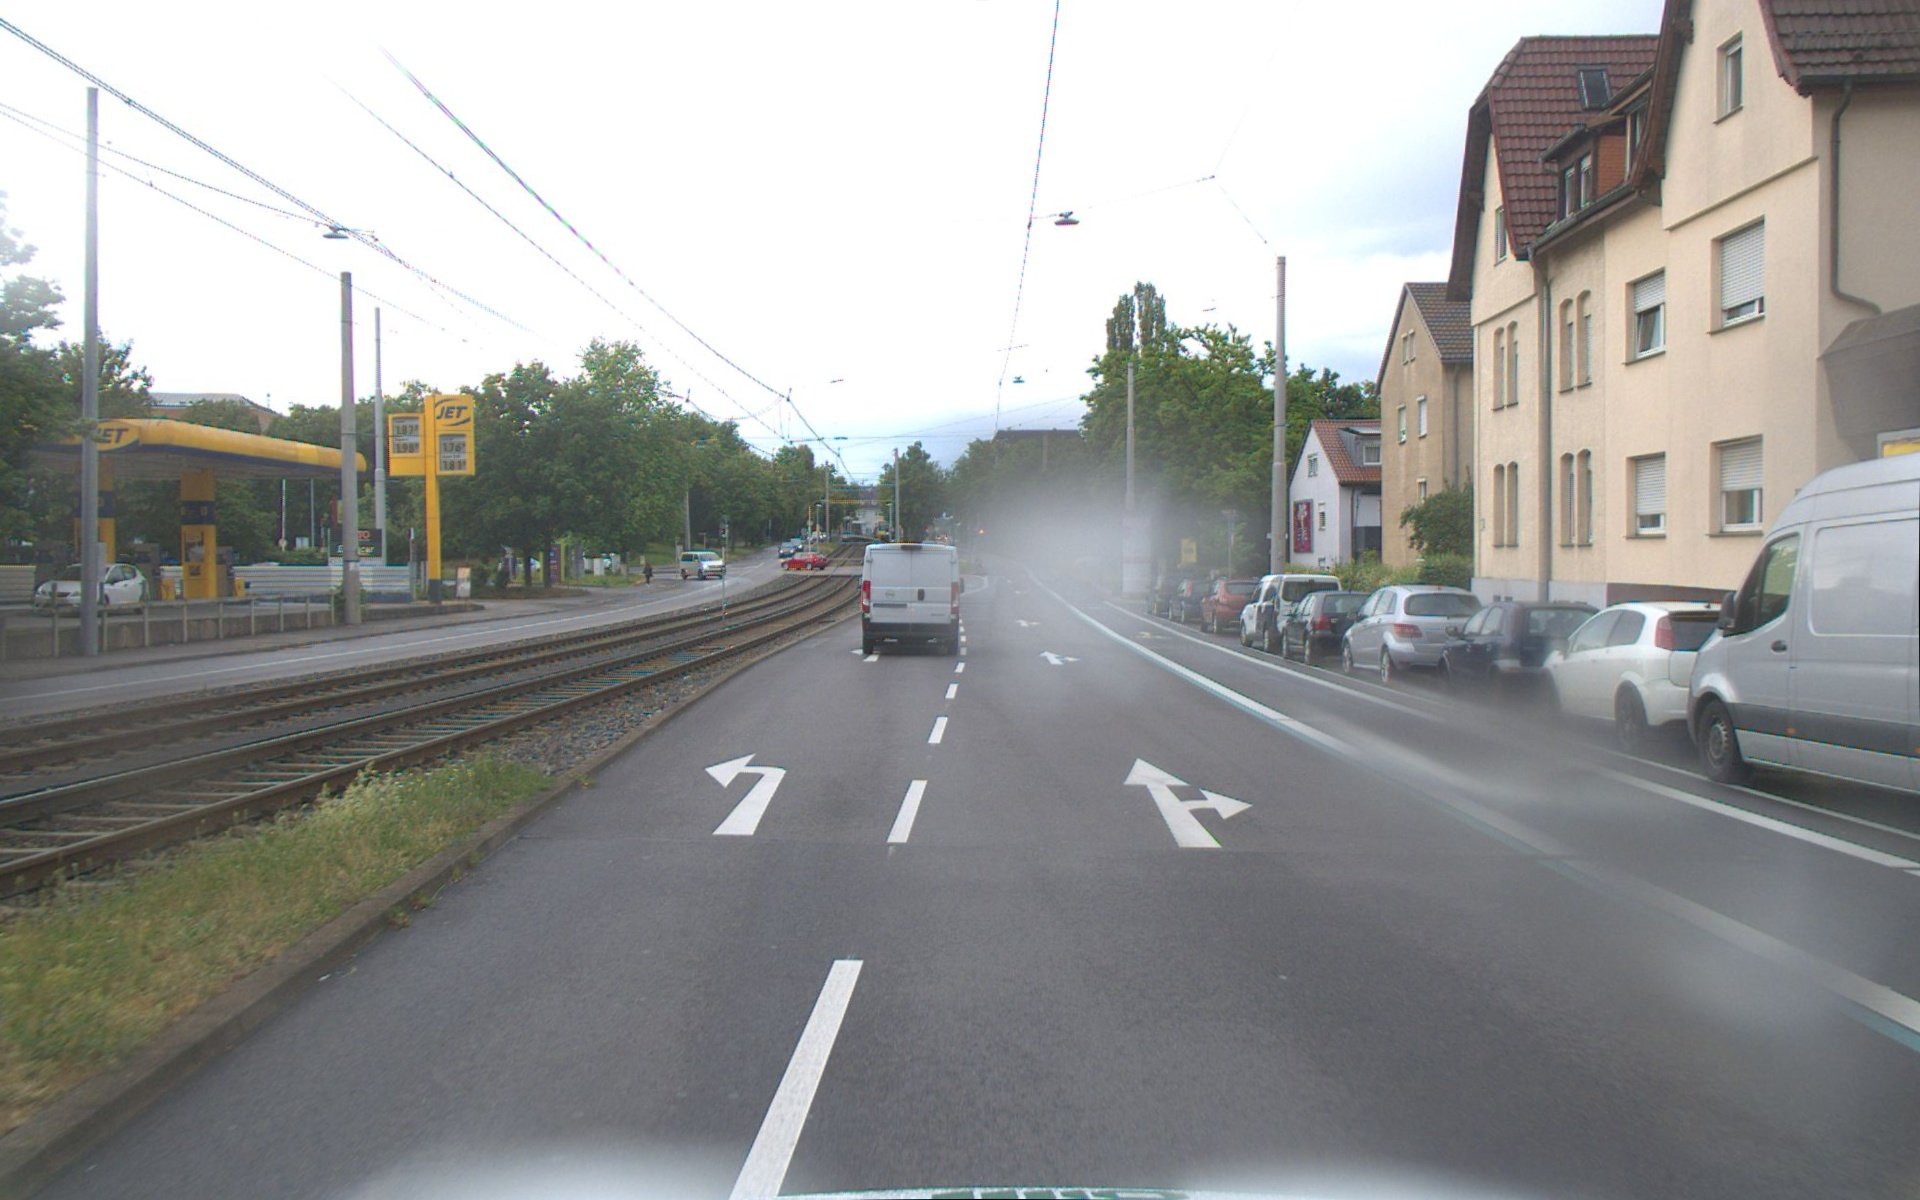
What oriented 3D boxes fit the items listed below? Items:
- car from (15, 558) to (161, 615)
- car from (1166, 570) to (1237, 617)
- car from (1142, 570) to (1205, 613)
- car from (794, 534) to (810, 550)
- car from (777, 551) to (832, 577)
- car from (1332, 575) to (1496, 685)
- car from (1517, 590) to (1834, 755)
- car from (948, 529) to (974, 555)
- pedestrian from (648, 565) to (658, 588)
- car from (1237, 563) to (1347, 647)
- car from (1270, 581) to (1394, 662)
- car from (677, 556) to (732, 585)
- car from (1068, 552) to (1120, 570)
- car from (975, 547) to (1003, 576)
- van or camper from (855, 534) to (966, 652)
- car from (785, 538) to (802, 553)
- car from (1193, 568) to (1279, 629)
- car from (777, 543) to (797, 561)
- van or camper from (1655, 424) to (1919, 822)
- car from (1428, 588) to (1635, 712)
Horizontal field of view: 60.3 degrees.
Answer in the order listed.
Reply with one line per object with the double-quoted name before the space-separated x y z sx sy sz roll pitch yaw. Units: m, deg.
"car" -24.039 -0.364 45.751 1.953 1.467 3.999 1 0 -2
"car" 8.201 -0.238 56.486 1.810 1.526 3.954 1 0 -1
"car" 8.005 -0.326 62.416 1.810 1.526 3.954 1 0 -1
"car" -22.350 -8.197 233.964 1.953 2.049 4.000 1 0 0
"car" -12.820 -2.959 136.377 4.445 2.049 1.989 2 0 41
"car" 7.526 0.437 27.804 1.612 1.643 4.105 1 1 0
"car" 7.487 0.681 17.768 1.673 1.471 4.041 1 1 1
"car" 0.088 -4.887 139.388 1.954 2.049 3.998 1 0 -3
"pedestrian" -19.721 -1.502 106.131 0.601 1.501 0.641 -1 0 -13
"car" 7.752 0.066 38.935 1.711 1.839 3.954 1 1 -1
"car" 7.456 0.388 33.480 1.612 1.471 3.955 1 1 0
"car" -19.036 -2.177 122.995 1.981 2.049 4.462 1 0 -40
"car" 11.231 -3.260 138.782 4.082 1.502 1.668 0 1 15
"car" 2.135 -2.804 121.251 1.953 2.049 4.000 1 0 0
"van or camper" -1.090 -0.144 35.241 2.155 2.292 4.681 1 0 -3
"car" -19.464 -6.351 193.514 1.656 1.602 3.776 1 0 -1
"car" 8.092 -0.083 48.804 1.810 1.674 3.954 1 1 -1
"car" -17.939 -4.989 171.769 1.656 1.741 3.776 1 0 -1
"van or camper" 7.294 0.140 12.000 1.952 2.608 6.044 1 1 1
"car" 7.654 0.610 22.487 1.592 1.473 3.708 1 1 2
